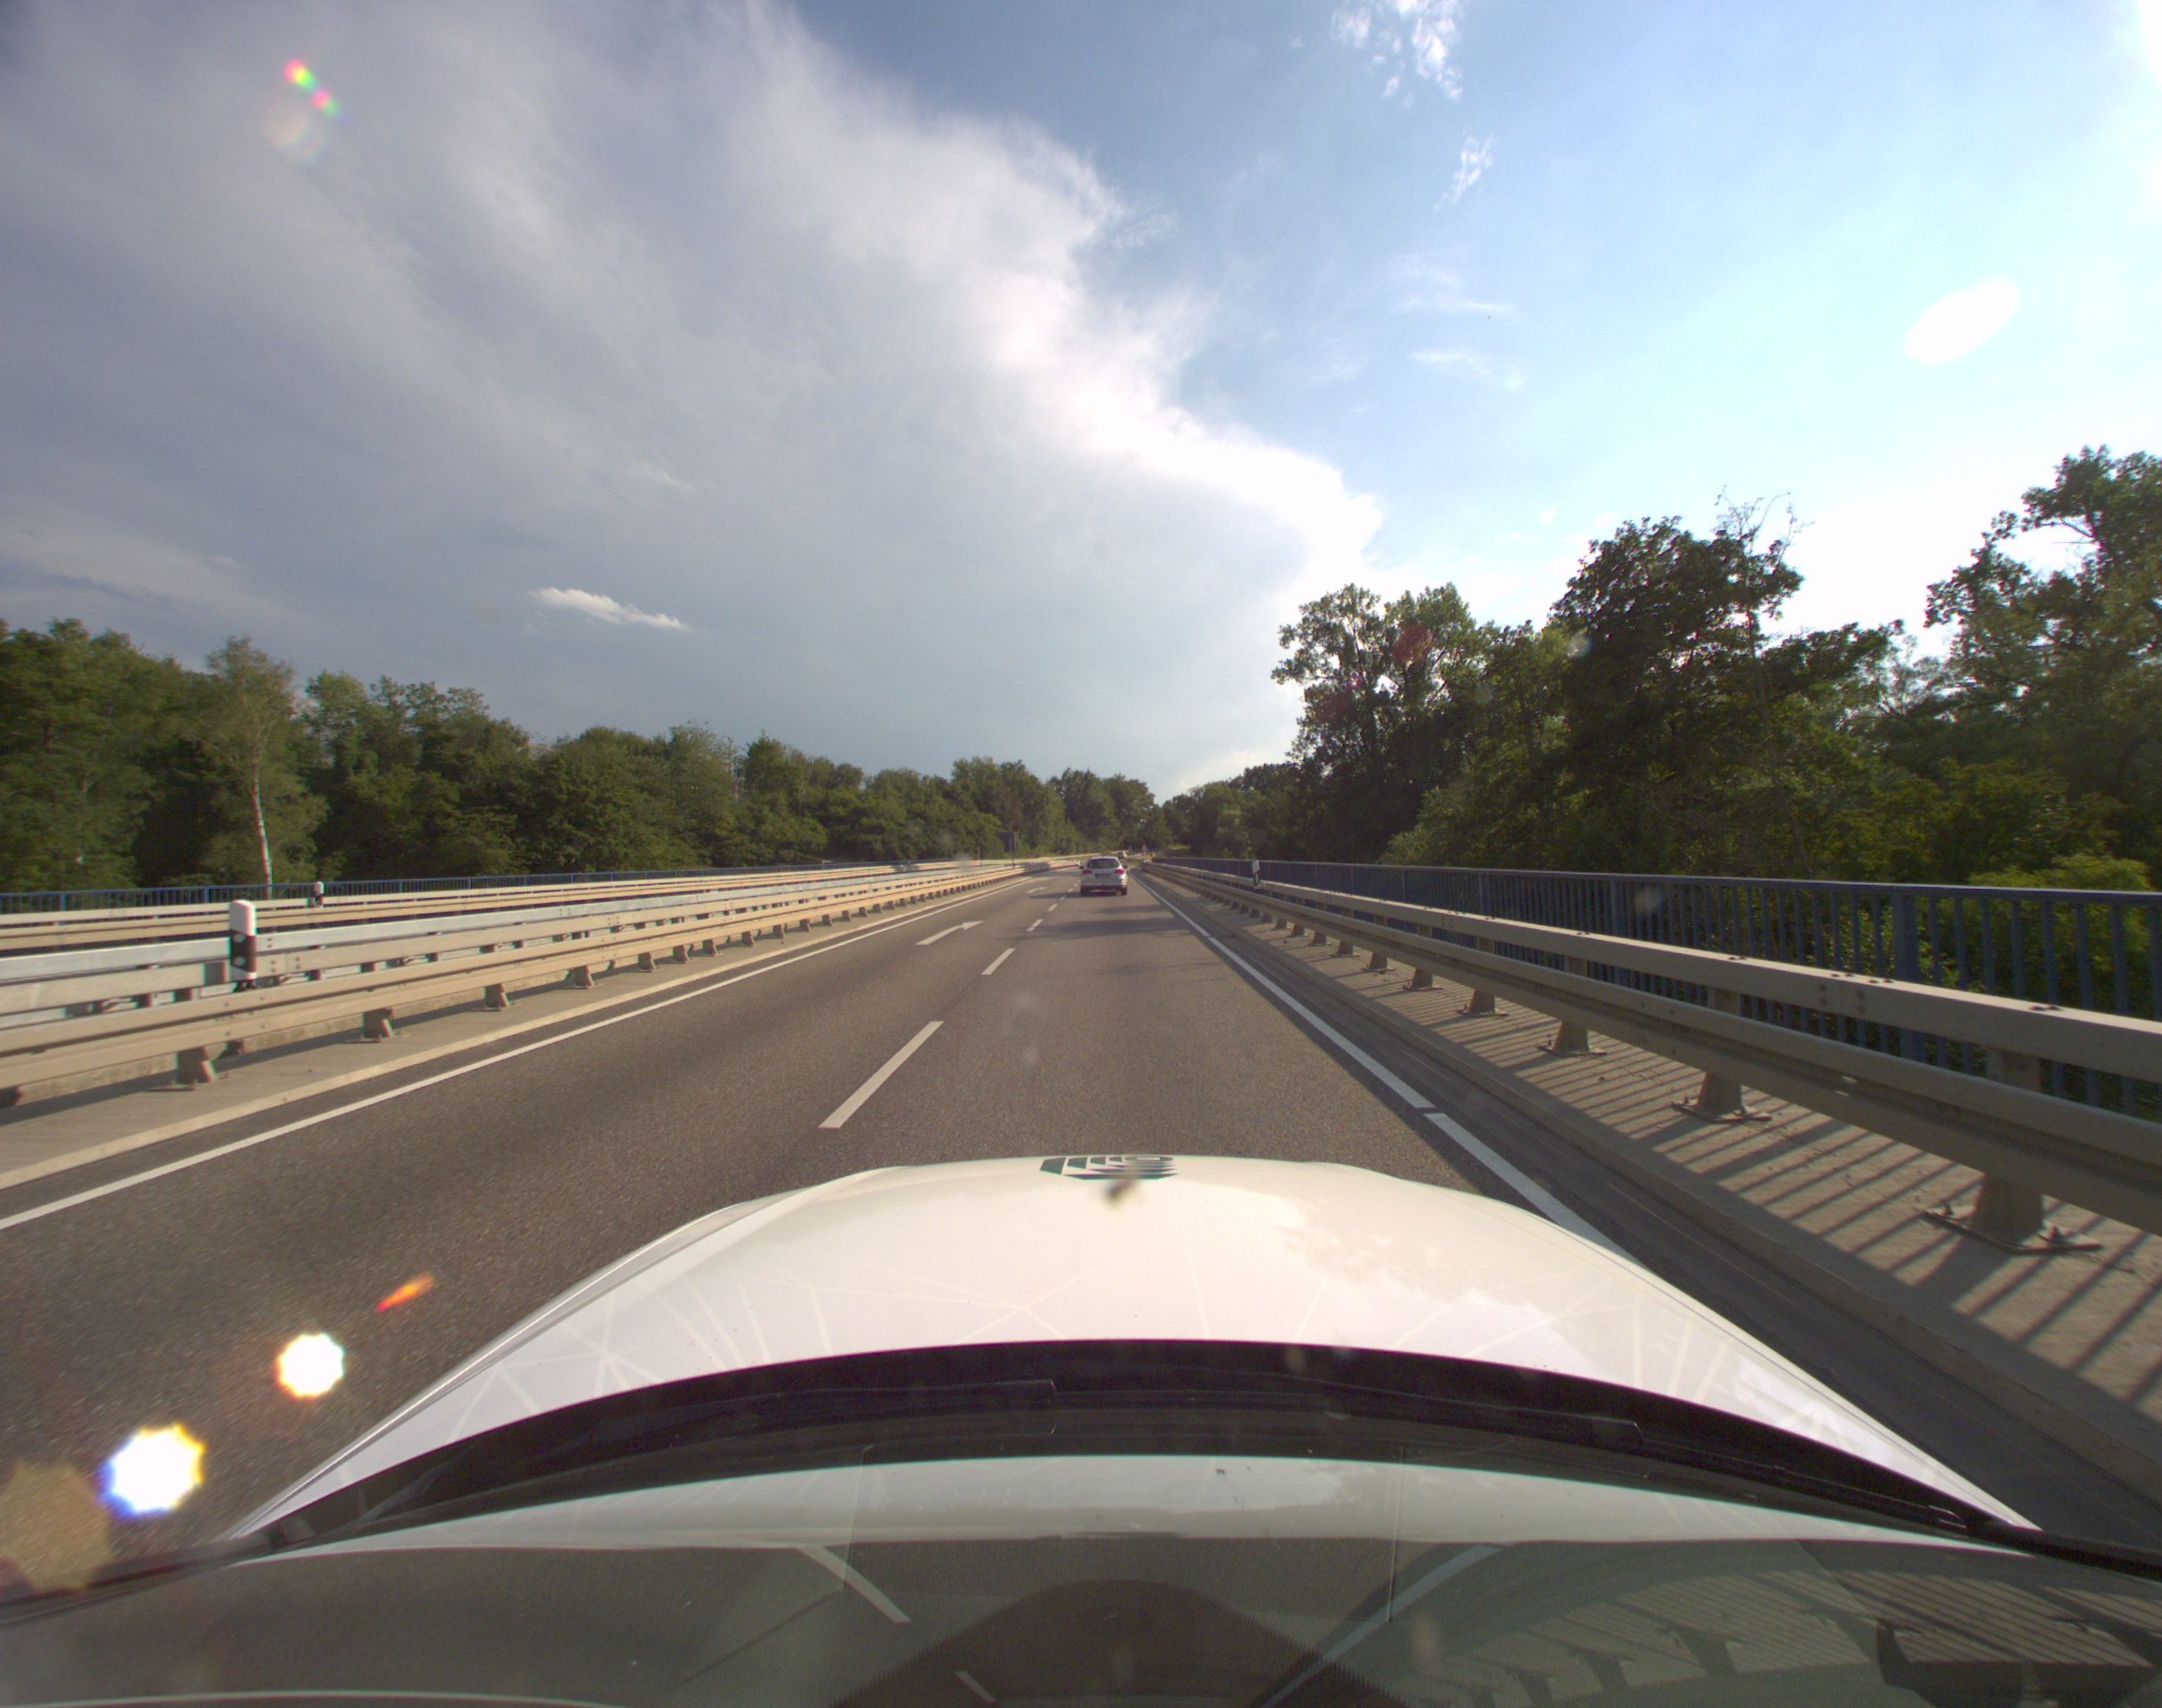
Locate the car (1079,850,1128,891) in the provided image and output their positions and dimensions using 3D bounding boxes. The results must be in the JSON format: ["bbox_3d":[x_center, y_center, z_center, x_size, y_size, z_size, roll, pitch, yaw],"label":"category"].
[{"bbox_3d":[0.866,0.641,31.999,1.802,1.486,4.001,0,-1,1],"label":"car"}]

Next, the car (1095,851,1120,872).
[{"bbox_3d":[1.979,0.565,61.749,1.802,1.486,4.001,0,-1,1],"label":"car"}]

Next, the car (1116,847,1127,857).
[{"bbox_3d":[8.528,-0.454,171.573,1.988,2.014,3.997,0,-1,-2],"label":"car"}]
